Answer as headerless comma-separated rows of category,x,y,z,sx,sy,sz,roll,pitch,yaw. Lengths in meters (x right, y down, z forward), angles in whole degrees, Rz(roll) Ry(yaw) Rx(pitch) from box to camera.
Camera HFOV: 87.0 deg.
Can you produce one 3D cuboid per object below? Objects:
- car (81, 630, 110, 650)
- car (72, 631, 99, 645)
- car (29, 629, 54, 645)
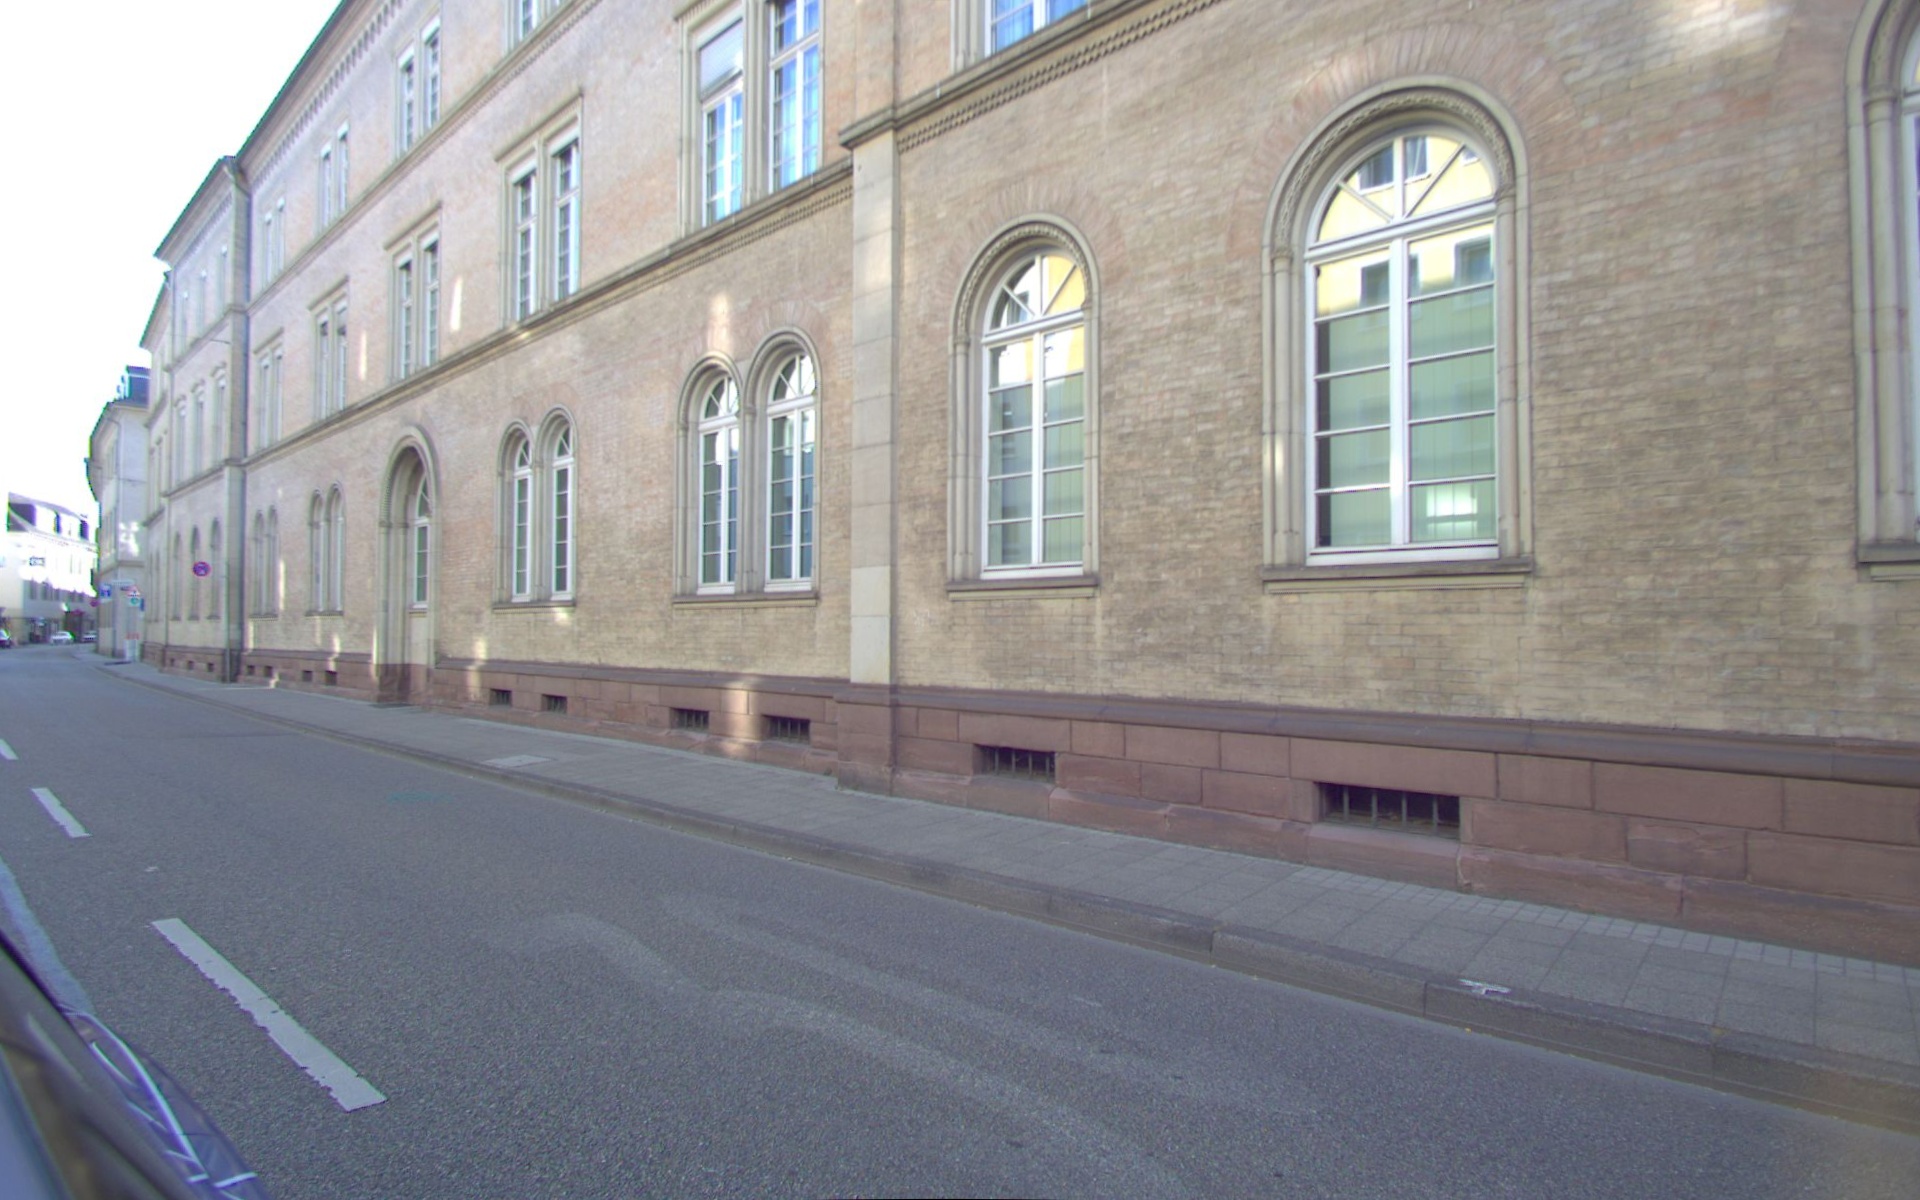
car,-80.031,3.688,93.723,1.638,1.737,3.748,1,-2,-36
car,-109.249,4.787,126.471,1.896,1.737,4.242,1,-2,-31
car,-102.509,4.125,112.981,1.511,1.737,3.749,1,-2,-34
